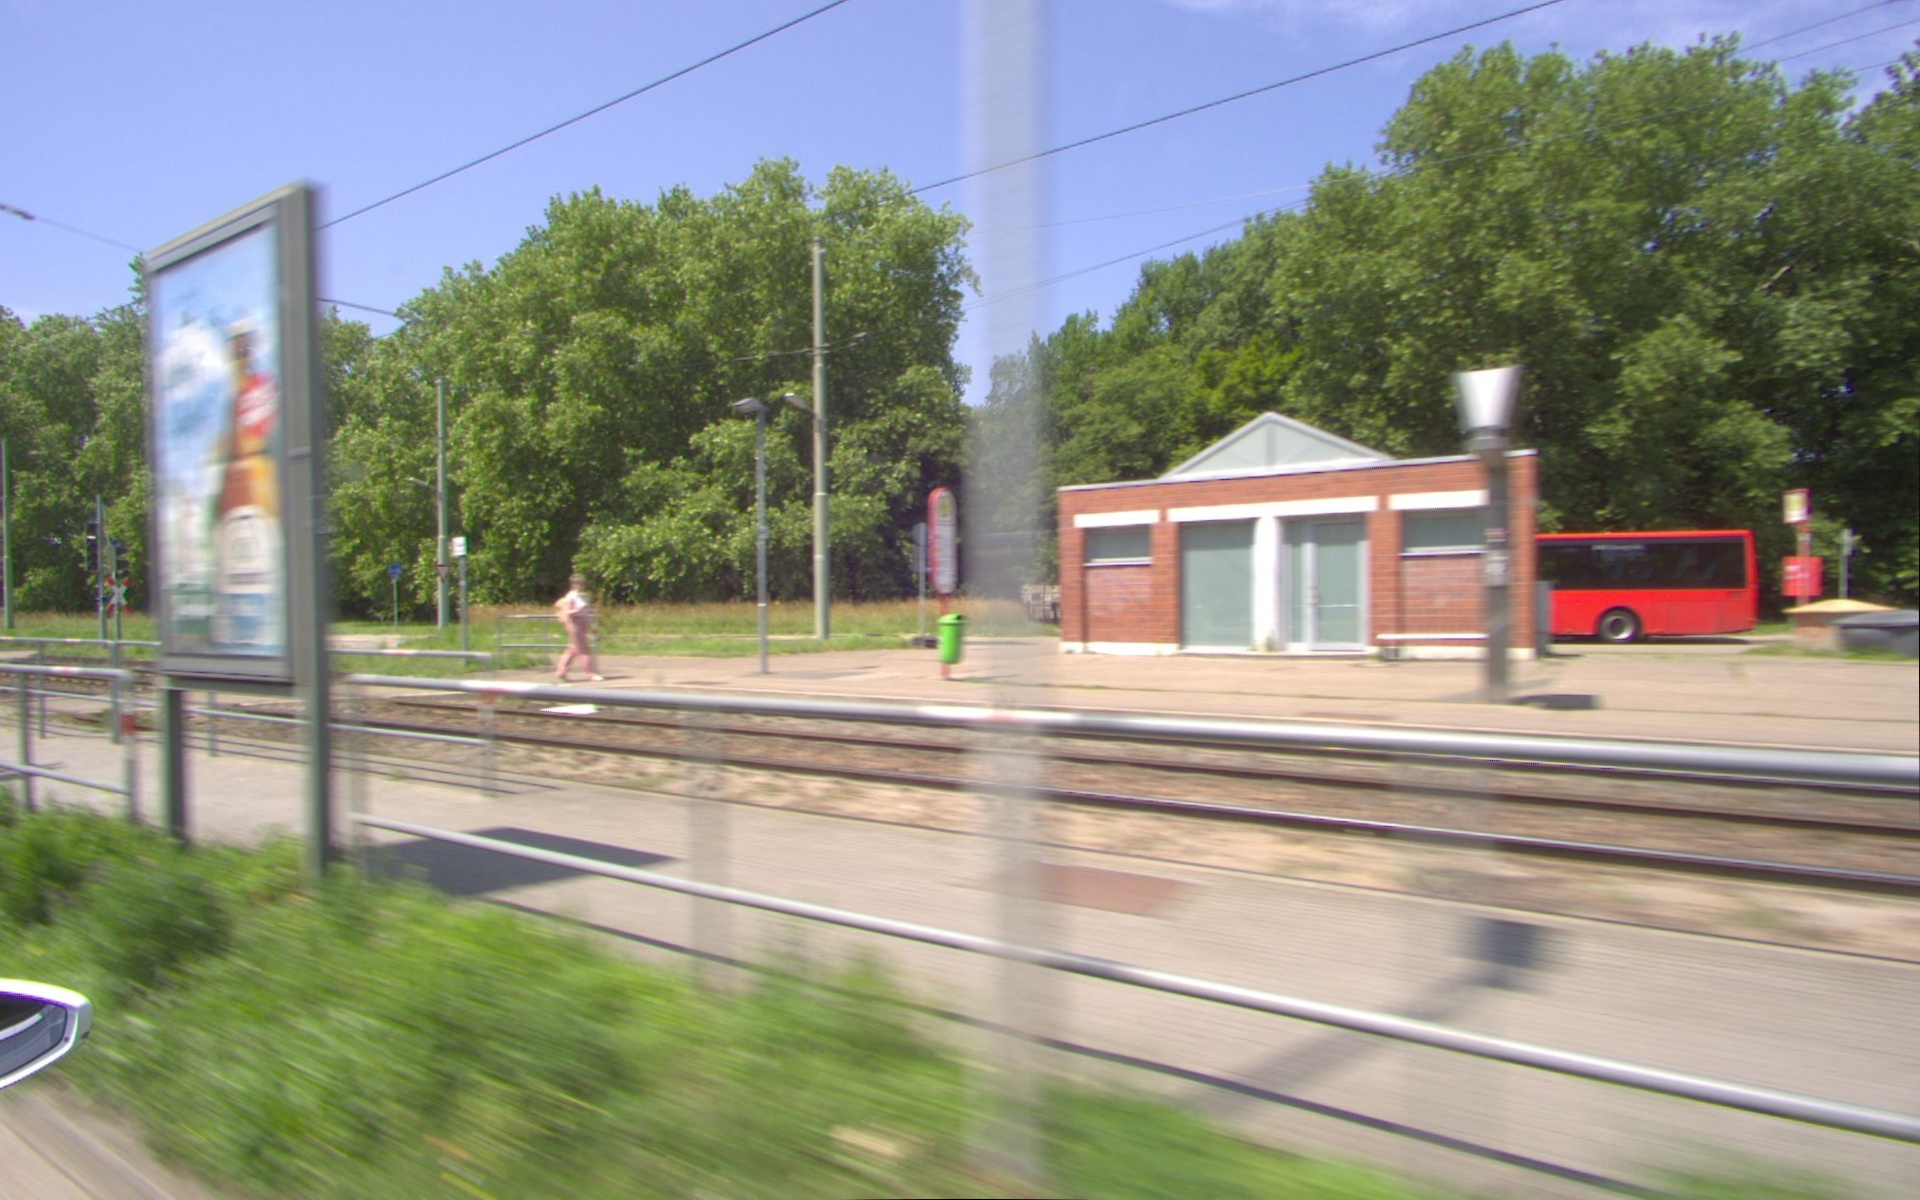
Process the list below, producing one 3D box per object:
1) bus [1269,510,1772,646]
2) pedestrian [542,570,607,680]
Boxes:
[{"bbox_3d":[15.315,-0.460,28.637,12.214,3.483,2.767,-1,-1,14],"label":"bus"},{"bbox_3d":[-6.431,0.416,16.711,0.802,1.782,0.635,-1,-1,20],"label":"pedestrian"}]
